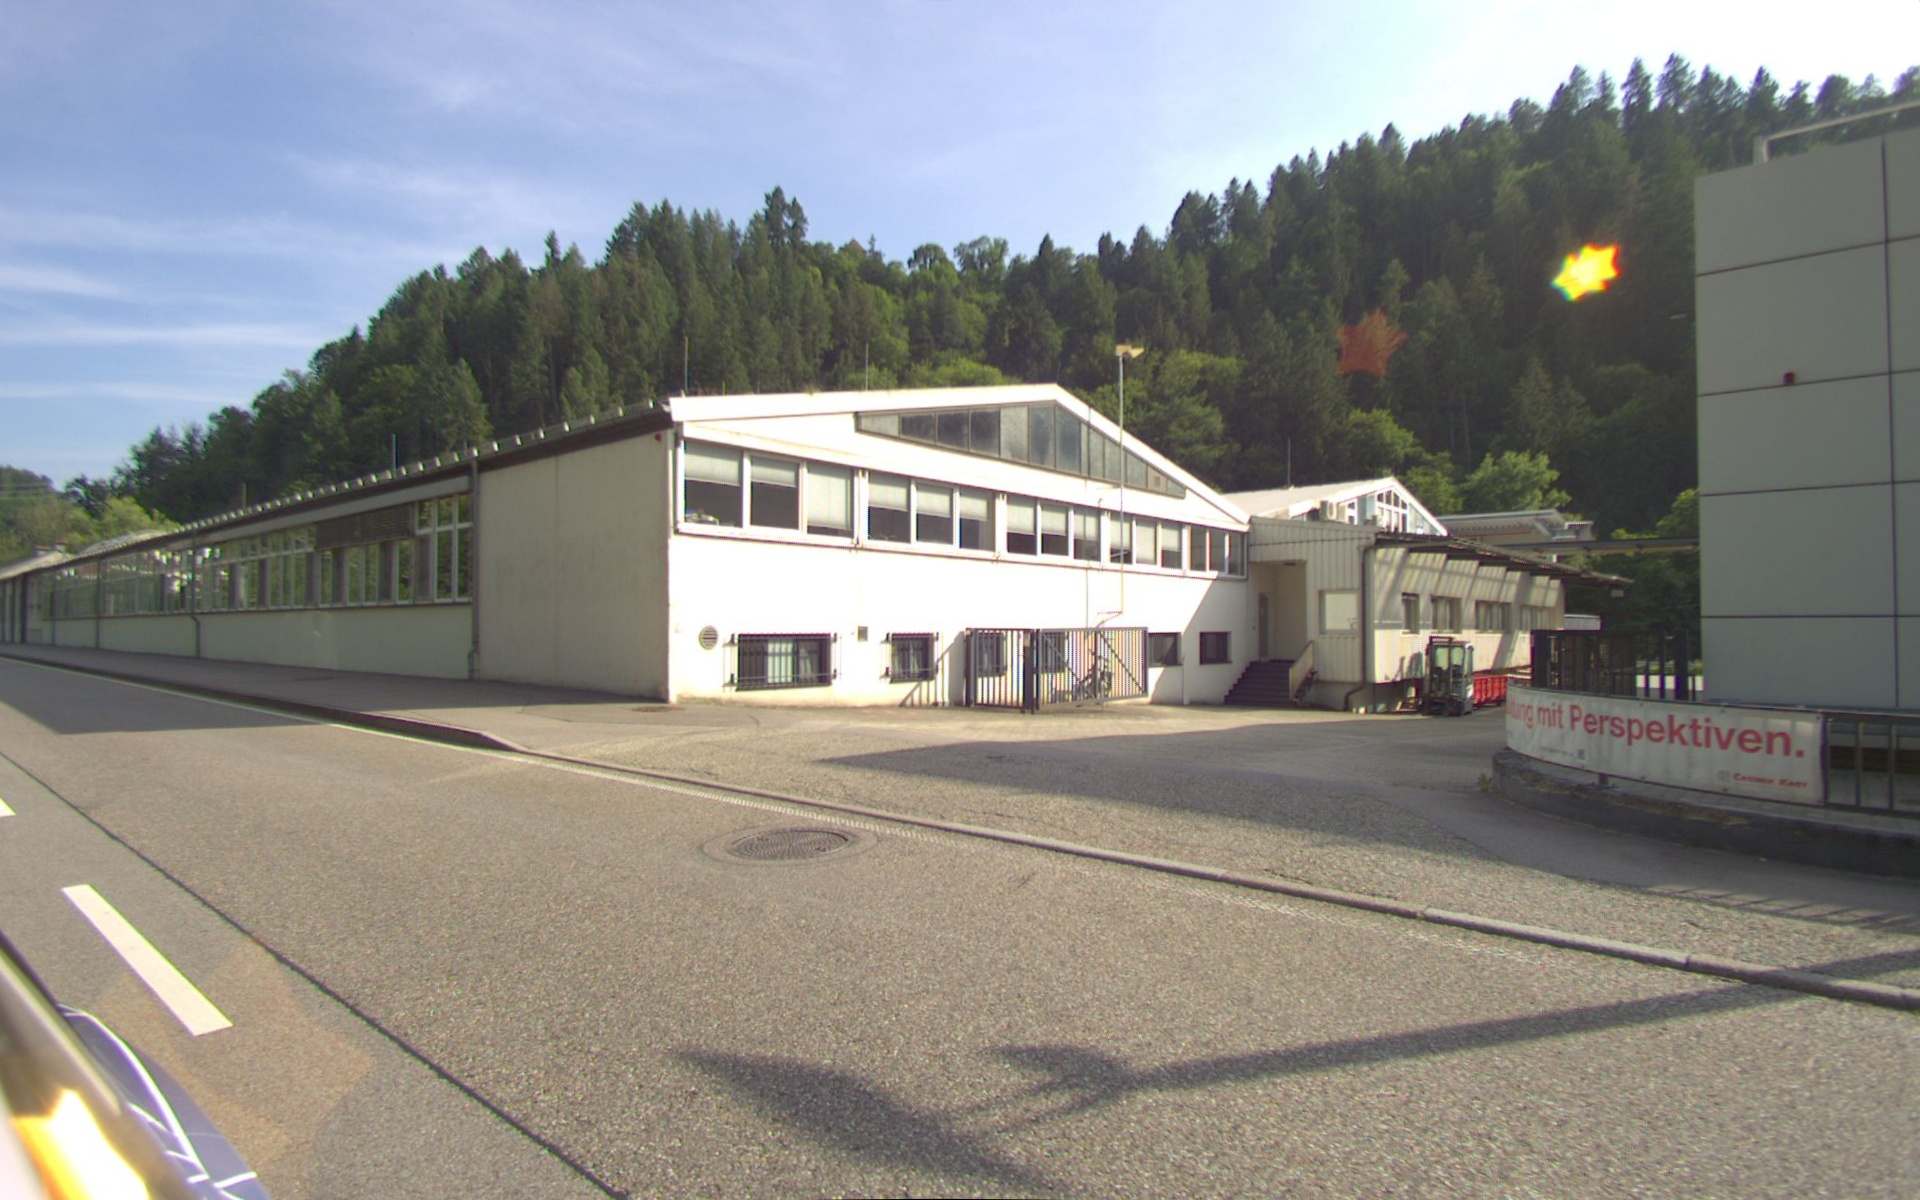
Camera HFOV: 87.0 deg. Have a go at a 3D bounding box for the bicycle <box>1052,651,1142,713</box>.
[{"bbox_3d":[3.078,1.795,22.452,1.039,1.270,2.471,-1,-4,32],"label":"bicycle"}]

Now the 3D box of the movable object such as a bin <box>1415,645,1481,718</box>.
[{"bbox_3d":[14.146,2.334,29.313,1.380,2.029,1.798,-1,-4,38],"label":"movable object such as a bin"}]
